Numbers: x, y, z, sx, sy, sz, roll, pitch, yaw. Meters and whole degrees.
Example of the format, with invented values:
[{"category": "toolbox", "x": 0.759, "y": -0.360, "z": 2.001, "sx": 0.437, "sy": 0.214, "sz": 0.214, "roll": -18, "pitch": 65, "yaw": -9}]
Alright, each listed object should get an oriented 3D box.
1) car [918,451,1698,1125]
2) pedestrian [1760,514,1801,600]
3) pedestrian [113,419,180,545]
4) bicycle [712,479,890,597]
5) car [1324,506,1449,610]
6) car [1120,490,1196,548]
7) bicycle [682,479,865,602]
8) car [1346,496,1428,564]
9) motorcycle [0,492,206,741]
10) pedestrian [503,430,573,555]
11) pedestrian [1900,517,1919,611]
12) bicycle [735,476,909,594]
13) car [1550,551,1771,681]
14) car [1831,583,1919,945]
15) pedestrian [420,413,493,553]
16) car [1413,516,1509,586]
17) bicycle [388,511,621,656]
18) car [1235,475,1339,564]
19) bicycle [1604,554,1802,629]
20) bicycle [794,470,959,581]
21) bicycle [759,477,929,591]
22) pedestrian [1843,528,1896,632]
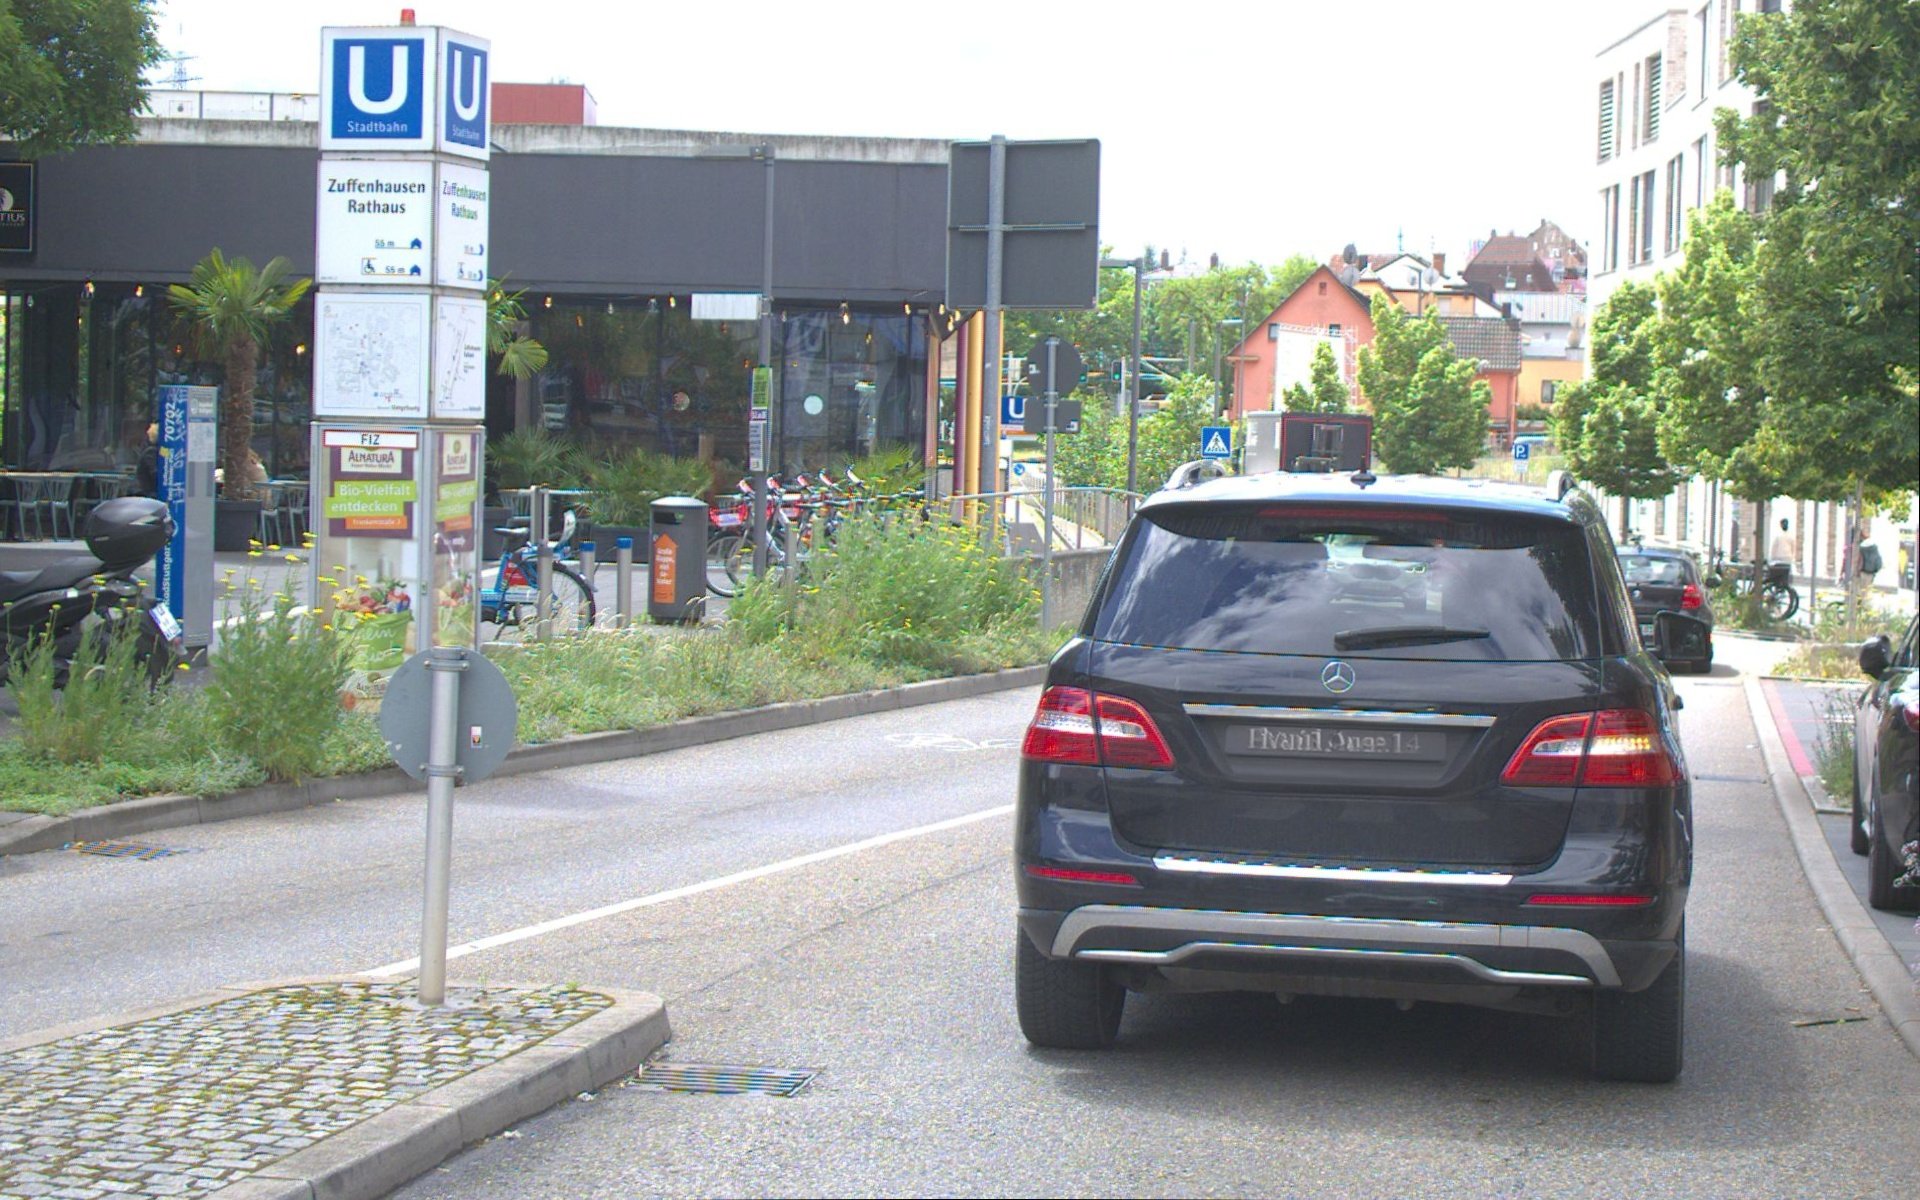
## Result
[{"category": "car", "x": 1.341, "y": 0.439, "z": 11.190, "sx": 2.028, "sy": 1.721, "sz": 4.431, "roll": 1, "pitch": 1, "yaw": 12}, {"category": "pedestrian", "x": 16.152, "y": -0.855, "z": 67.716, "sx": 0.558, "sy": 1.677, "sz": 0.568, "roll": 1, "pitch": 1, "yaw": -10}, {"category": "pedestrian", "x": -9.026, "y": -1.303, "z": 38.152, "sx": 0.581, "sy": 1.375, "sz": 0.616, "roll": 1, "pitch": 1, "yaw": 0}, {"category": "bicycle", "x": -1.500, "y": -0.591, "z": 32.512, "sx": 1.569, "sy": 1.065, "sz": 0.539, "roll": 2, "pitch": 1, "yaw": 13}, {"category": "car", "x": 7.374, "y": -0.747, "z": 59.172, "sx": 1.841, "sy": 1.602, "sz": 3.999, "roll": 4, "pitch": 2, "yaw": 10}, {"category": "car", "x": 6.046, "y": -2.497, "z": 105.336, "sx": 1.840, "sy": 1.602, "sz": 4.001, "roll": 4, "pitch": 2, "yaw": -2}, {"category": "bicycle", "x": -1.719, "y": -0.550, "z": 31.772, "sx": 1.569, "sy": 1.087, "sz": 0.578, "roll": 2, "pitch": 1, "yaw": 13}, {"category": "car", "x": 10.621, "y": -1.765, "z": 85.708, "sx": 1.841, "sy": 1.519, "sz": 3.999, "roll": 4, "pitch": 2, "yaw": 6}, {"category": "motorcycle", "x": -5.360, "y": 0.054, "z": 19.305, "sx": 2.134, "sy": 1.284, "sz": 0.583, "roll": 3, "pitch": 4, "yaw": 14}, {"category": "pedestrian", "x": -5.010, "y": -1.273, "z": 40.820, "sx": 0.581, "sy": 1.458, "sz": 0.615, "roll": 2, "pitch": 1, "yaw": 20}, {"category": "pedestrian", "x": 17.229, "y": -0.650, "z": 61.731, "sx": 0.559, "sy": 1.677, "sz": 0.568, "roll": 2, "pitch": 1, "yaw": 9}, {"category": "bicycle", "x": -1.335, "y": -0.634, "z": 33.346, "sx": 1.569, "sy": 1.087, "sz": 0.578, "roll": 2, "pitch": 1, "yaw": 13}, {"category": "car", "x": 8.195, "y": 0.146, "z": 40.009, "sx": 1.611, "sy": 1.378, "sz": 3.831, "roll": 2, "pitch": 2, "yaw": 26}, {"category": "car", "x": 4.991, "y": 0.657, "z": 15.698, "sx": 1.857, "sy": 1.401, "sz": 4.372, "roll": 1, "pitch": 1, "yaw": 13}, {"category": "pedestrian", "x": -5.877, "y": -1.369, "z": 40.130, "sx": 0.581, "sy": 1.613, "sz": 0.616, "roll": 0, "pitch": 2, "yaw": -43}, {"category": "car", "x": 10.371, "y": -1.040, "z": 71.373, "sx": 1.608, "sy": 1.378, "sz": 3.836, "roll": 1, "pitch": 2, "yaw": 3}, {"category": "bicycle", "x": -3.322, "y": -0.129, "z": 25.065, "sx": 1.613, "sy": 0.994, "sz": 0.499, "roll": 2, "pitch": 1, "yaw": 18}, {"category": "car", "x": 7.445, "y": -1.871, "z": 78.646, "sx": 1.840, "sy": 1.851, "sz": 4.498, "roll": 4, "pitch": 2, "yaw": 0}, {"category": "bicycle", "x": 12.027, "y": -0.145, "z": 55.719, "sx": 3.060, "sy": 1.142, "sz": 0.710, "roll": 1, "pitch": 1, "yaw": 8}, {"category": "bicycle", "x": -0.846, "y": -0.766, "z": 35.095, "sx": 1.569, "sy": 1.087, "sz": 0.578, "roll": 2, "pitch": 1, "yaw": 13}, {"category": "bicycle", "x": -1.154, "y": -0.656, "z": 34.211, "sx": 1.569, "sy": 1.087, "sz": 0.578, "roll": 2, "pitch": 1, "yaw": 13}, {"category": "pedestrian", "x": 14.819, "y": -0.332, "z": 56.028, "sx": 0.663, "sy": 1.677, "sz": 0.568, "roll": 2, "pitch": 1, "yaw": 2}]
